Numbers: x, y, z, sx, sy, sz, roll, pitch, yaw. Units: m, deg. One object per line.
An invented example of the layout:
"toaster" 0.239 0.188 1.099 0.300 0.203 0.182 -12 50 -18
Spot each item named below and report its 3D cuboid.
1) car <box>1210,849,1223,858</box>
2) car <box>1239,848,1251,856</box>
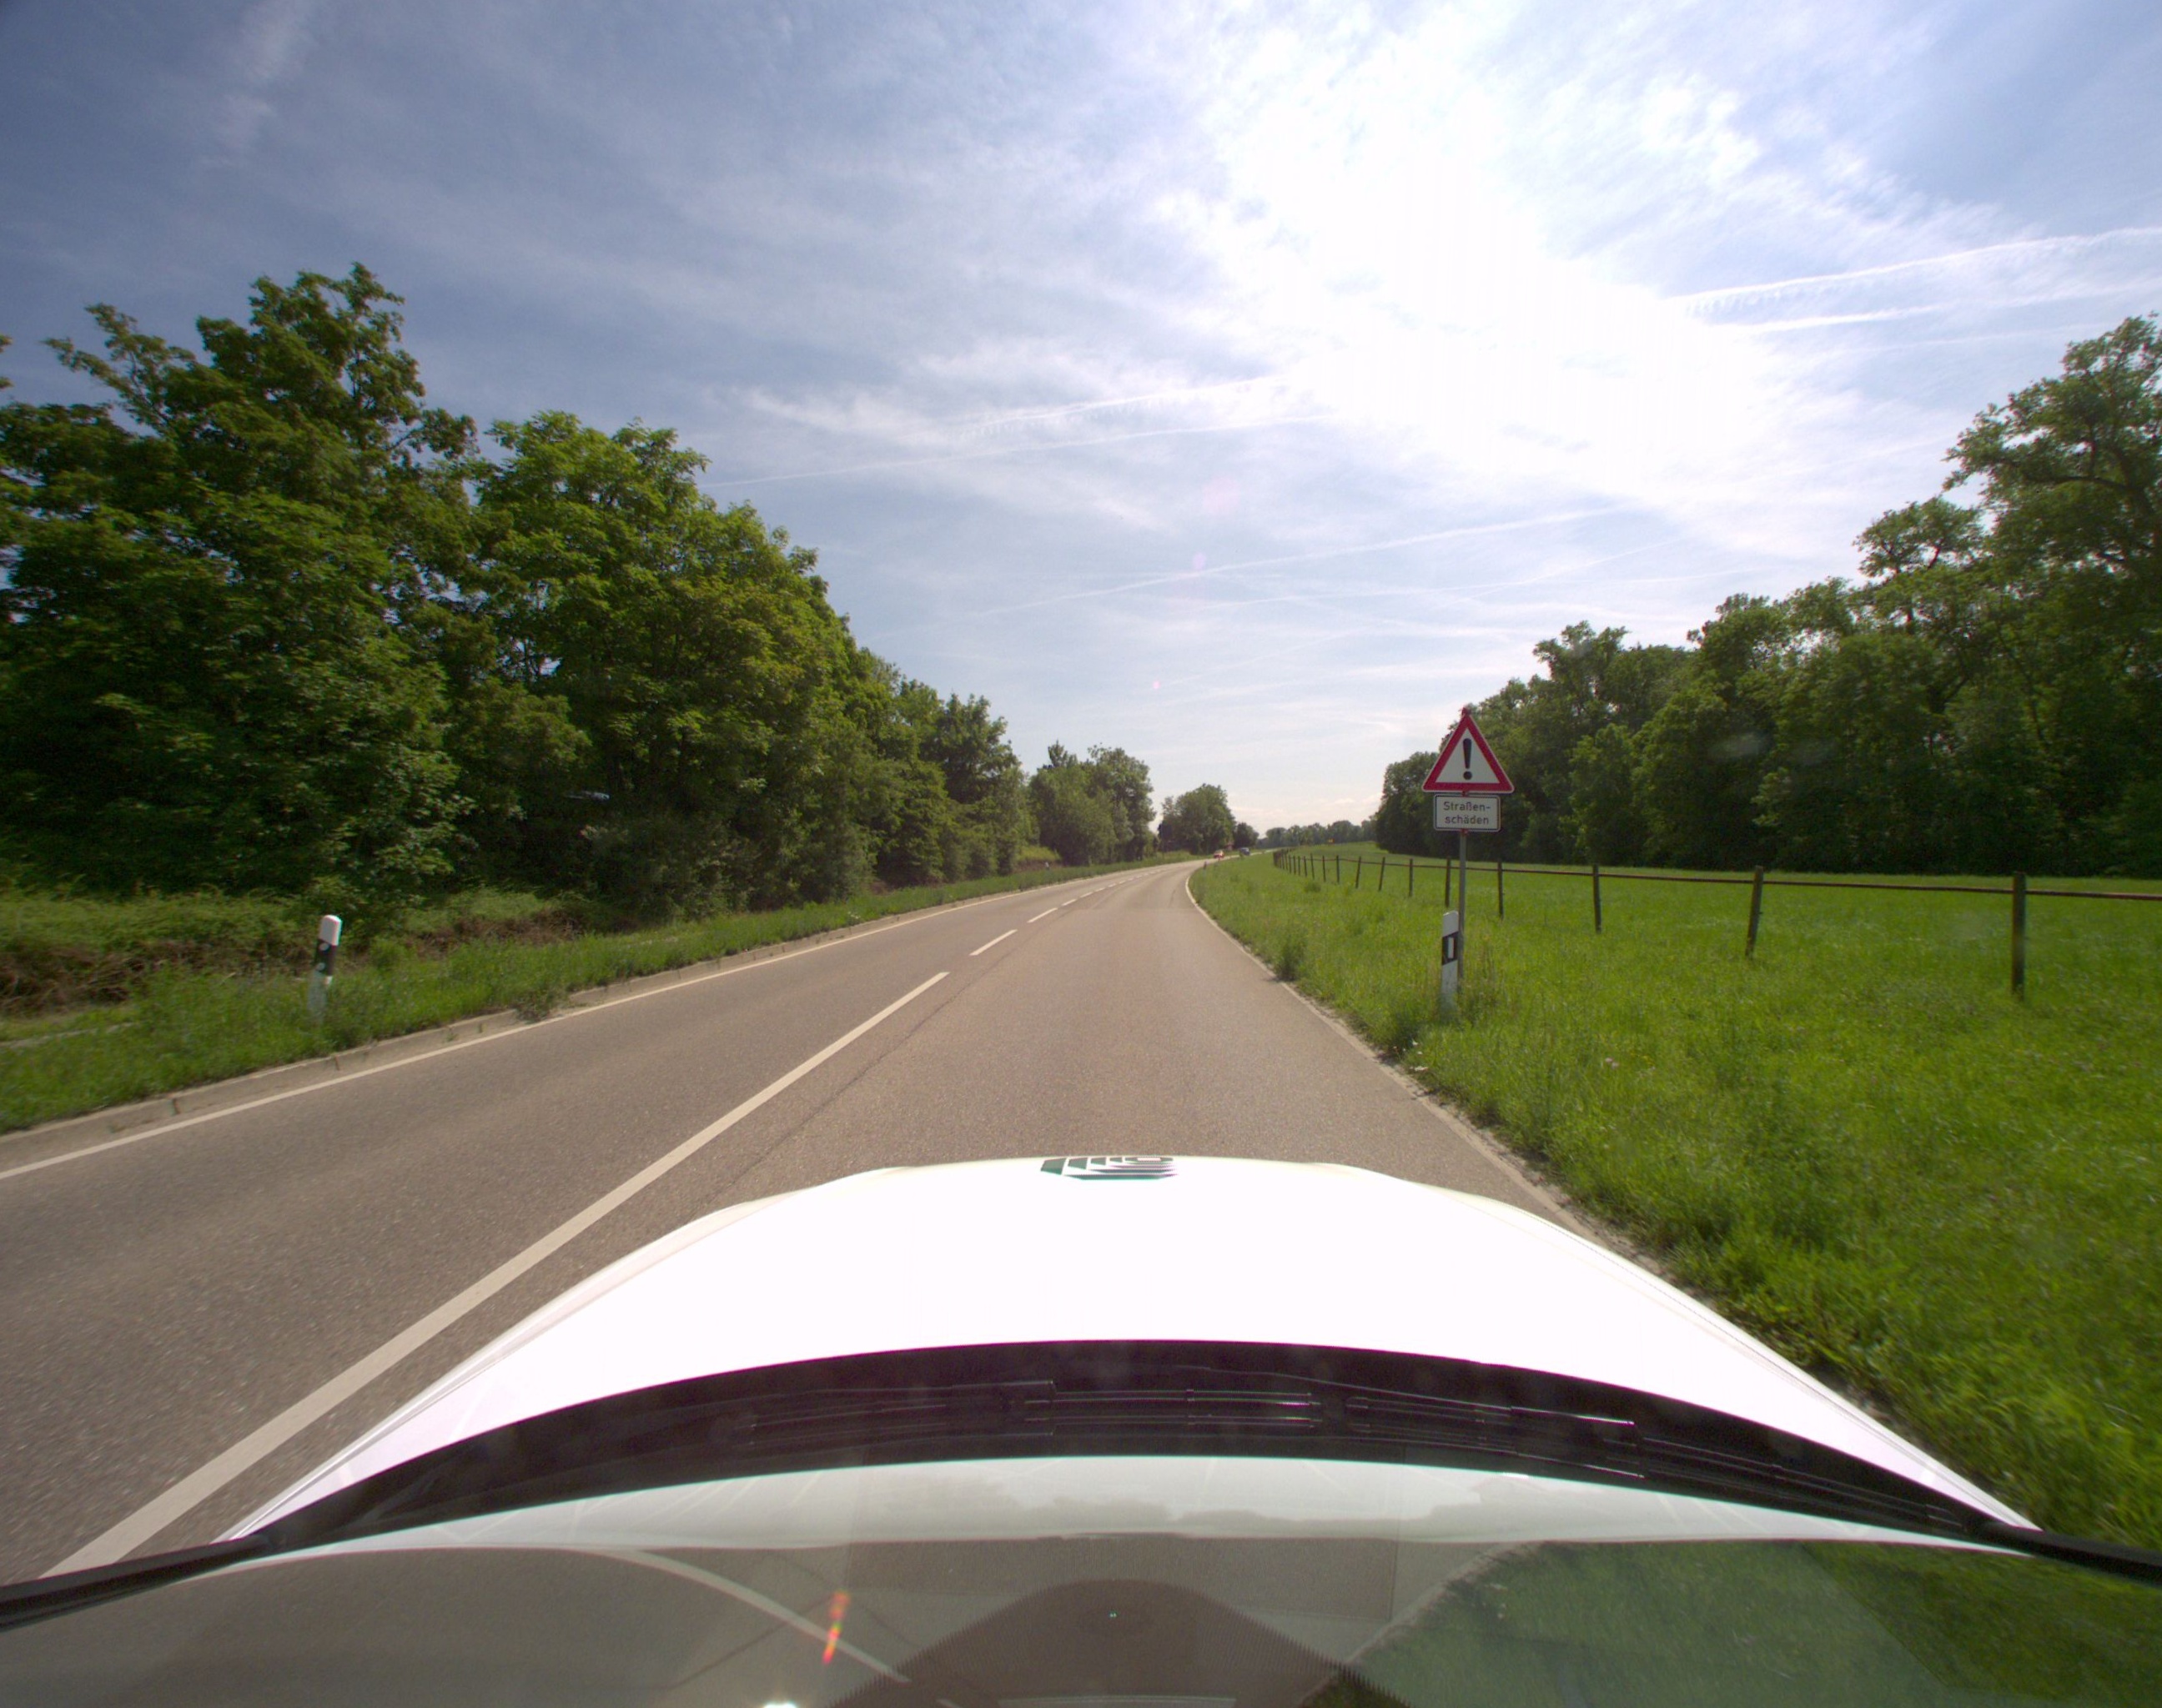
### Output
"car" 23.250 -0.156 139.967 1.808 1.469 4.015 -1 0 14
"car" 31.584 -0.364 156.760 1.978 1.574 4.017 -1 0 17
